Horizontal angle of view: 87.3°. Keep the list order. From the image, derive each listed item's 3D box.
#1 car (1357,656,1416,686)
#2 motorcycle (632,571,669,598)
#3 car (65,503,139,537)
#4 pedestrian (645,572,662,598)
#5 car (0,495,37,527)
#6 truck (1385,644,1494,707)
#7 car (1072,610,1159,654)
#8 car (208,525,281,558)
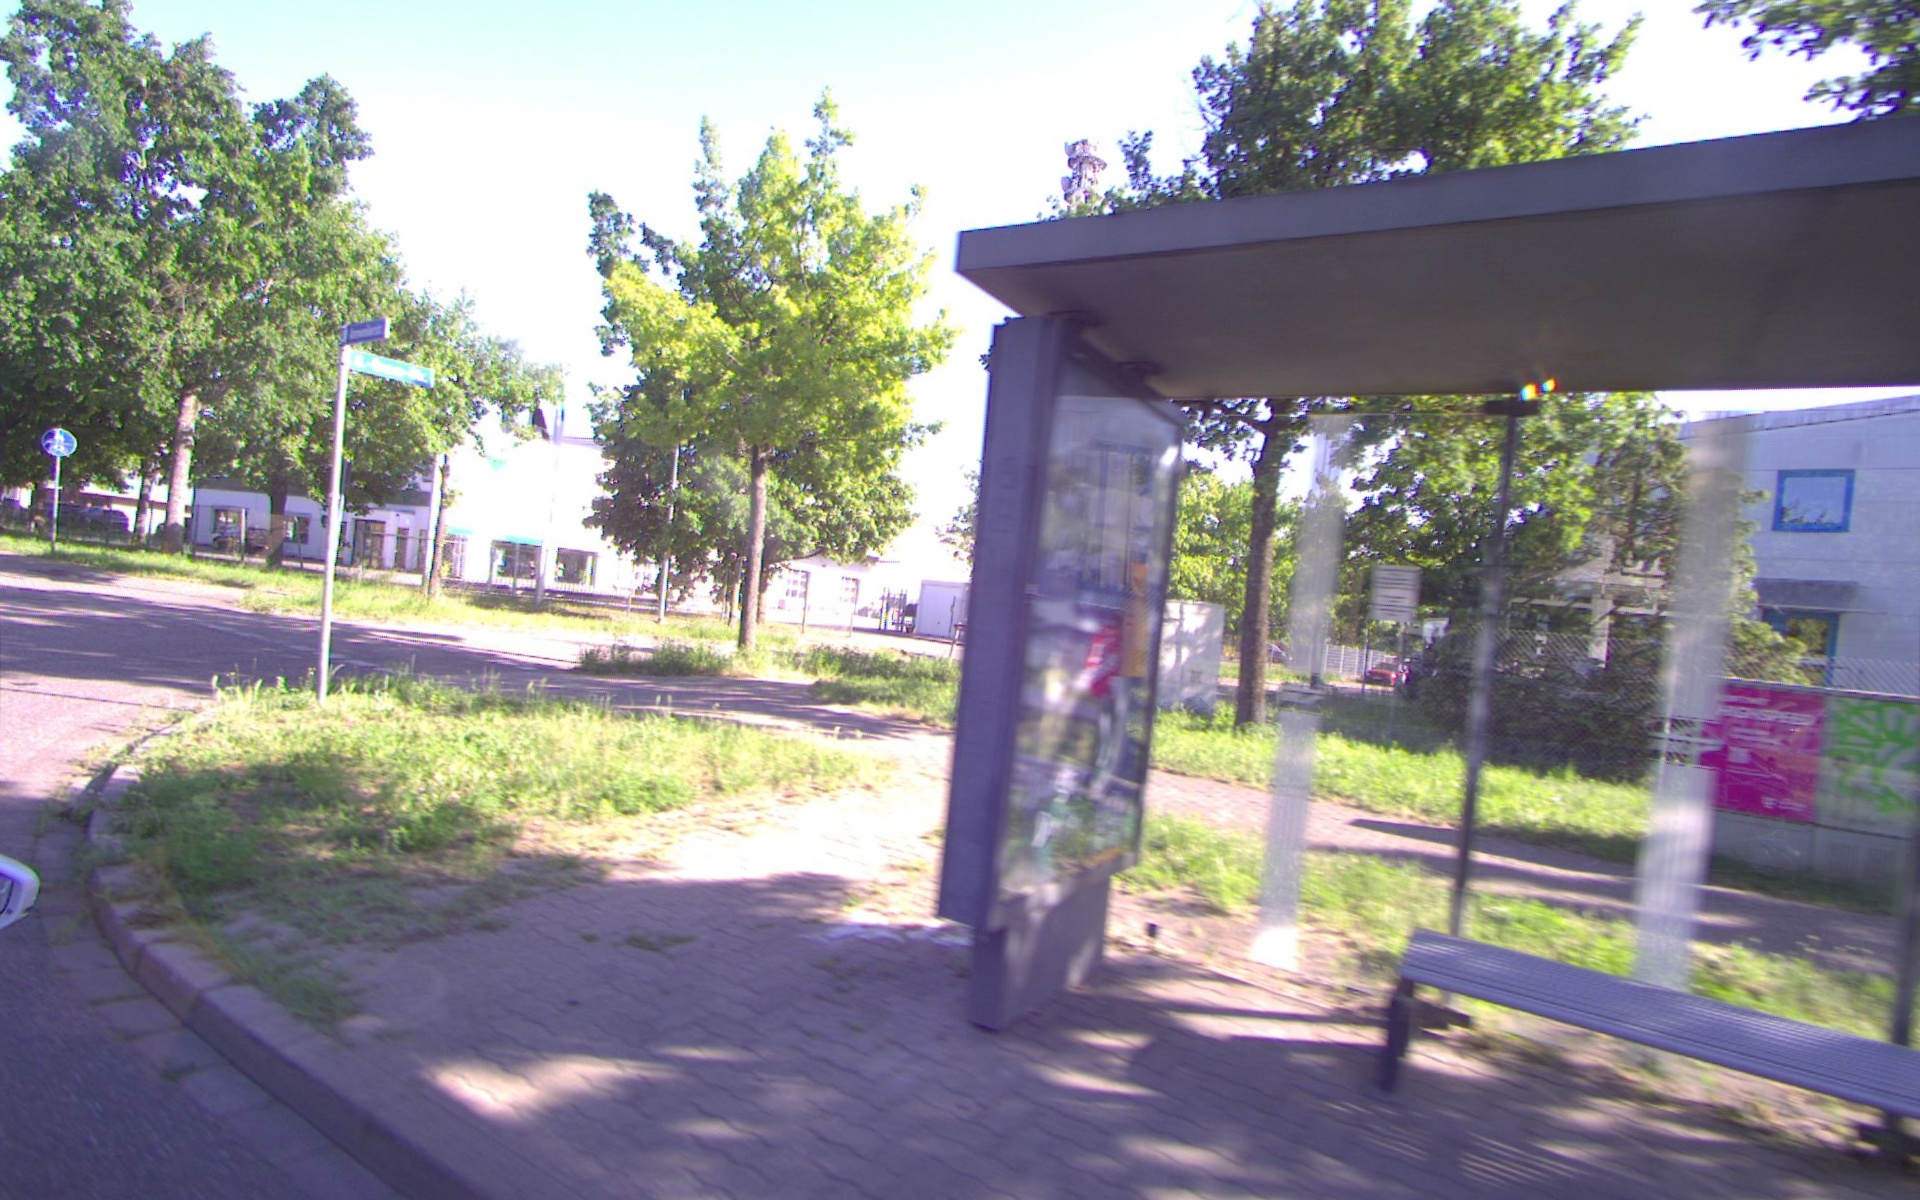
[{"bbox_3d":[26.711,4.445,62.921,1.915,1.497,4.491,6,-1,43],"label":"car"},{"bbox_3d":[-19.012,-0.934,61.802,0.649,1.450,1.979,7,0,44],"label":"motorcycle"},{"bbox_3d":[-58.533,-5.430,68.590,4.560,1.766,2.189,6,0,27],"label":"car"},{"bbox_3d":[-18.654,-0.923,61.256,0.713,1.451,0.743,6,1,-34],"label":"pedestrian"},{"bbox_3d":[-60.844,-5.785,63.590,4.560,1.766,2.189,6,0,27],"label":"car"},{"bbox_3d":[19.095,3.006,39.913,5.117,2.137,1.978,7,-3,-42],"label":"truck"},{"bbox_3d":[9.135,1.858,59.343,4.673,2.011,1.989,6,0,44],"label":"car"},{"bbox_3d":[-40.503,-3.329,56.924,3.701,1.401,1.768,6,0,27],"label":"car"}]
